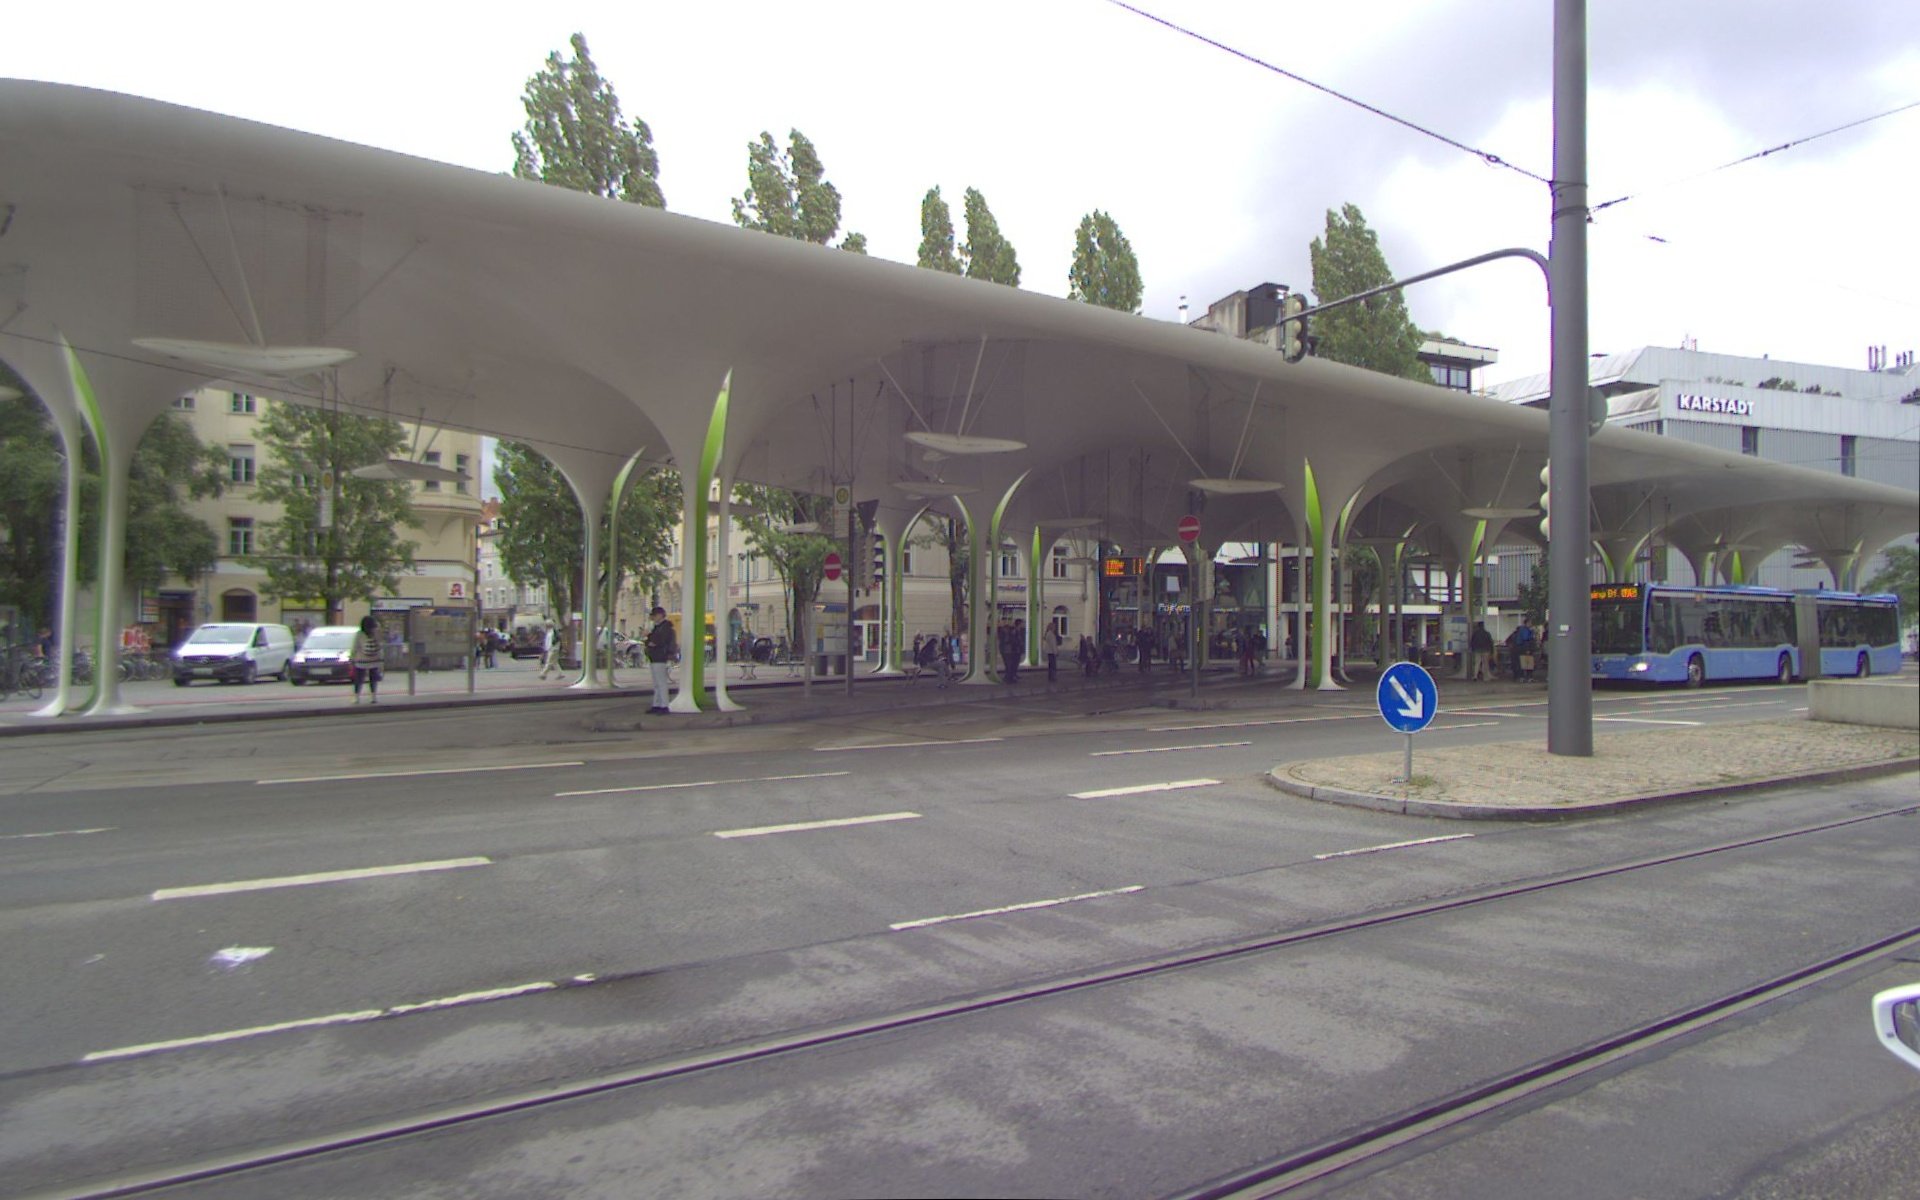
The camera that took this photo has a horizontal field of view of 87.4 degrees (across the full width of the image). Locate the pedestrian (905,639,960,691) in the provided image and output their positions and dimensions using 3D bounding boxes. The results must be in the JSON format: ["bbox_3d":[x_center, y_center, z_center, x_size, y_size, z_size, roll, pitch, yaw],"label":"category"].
[{"bbox_3d":[-0.703,1.605,25.067,1.248,1.246,0.811,1,-1,-11],"label":"pedestrian"}]

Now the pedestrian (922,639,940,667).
[{"bbox_3d":[-1.177,2.153,40.920,0.573,1.098,0.513,1,-2,-37],"label":"pedestrian"}]

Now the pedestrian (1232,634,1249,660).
[{"bbox_3d":[18.012,3.007,64.572,0.762,1.683,0.779,1,-1,-20],"label":"pedestrian"}]

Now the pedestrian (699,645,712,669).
[{"bbox_3d":[-12.527,2.795,49.397,0.606,1.097,1.835,1,-2,-15],"label":"pedestrian"}]

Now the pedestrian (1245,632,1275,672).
[{"bbox_3d":[13.165,2.268,44.085,0.883,1.753,0.868,1,-2,-25],"label":"pedestrian"}]

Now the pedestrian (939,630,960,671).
[{"bbox_3d":[-0.448,2.057,41.205,0.635,1.669,0.596,1,-2,-37],"label":"pedestrian"}]

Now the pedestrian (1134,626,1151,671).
[{"bbox_3d":[7.073,1.890,38.947,0.635,1.719,0.700,0,-1,11],"label":"pedestrian"}]

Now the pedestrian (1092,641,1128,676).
[{"bbox_3d":[5.274,2.049,35.309,0.867,1.170,0.908,1,1,-29],"label":"pedestrian"}]

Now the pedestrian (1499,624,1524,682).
[{"bbox_3d":[16.959,1.631,30.886,0.568,1.756,0.500,2,-2,-42],"label":"pedestrian"}]

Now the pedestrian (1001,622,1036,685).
[{"bbox_3d":[1.800,1.633,30.844,0.701,1.897,0.876,0,-1,34],"label":"pedestrian"}]

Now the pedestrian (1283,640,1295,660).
[{"bbox_3d":[21.728,3.294,66.286,0.567,1.351,0.512,1,-1,-11],"label":"pedestrian"}]

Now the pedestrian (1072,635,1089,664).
[{"bbox_3d":[7.163,2.915,59.695,0.742,1.699,0.790,1,-2,-20],"label":"pedestrian"}]

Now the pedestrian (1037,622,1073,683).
[{"bbox_3d":[2.753,1.511,29.056,0.799,1.750,0.668,-1,-2,44],"label":"pedestrian"}]

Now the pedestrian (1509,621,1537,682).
[{"bbox_3d":[16.705,1.513,29.810,0.558,1.766,0.752,-1,-2,43],"label":"pedestrian"}]

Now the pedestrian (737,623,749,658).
[{"bbox_3d":[-12.885,2.414,59.574,0.561,2.040,0.670,0,-1,0],"label":"pedestrian"}]

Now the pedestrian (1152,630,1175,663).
[{"bbox_3d":[11.191,2.539,55.363,0.981,1.796,0.931,1,-1,-10],"label":"pedestrian"}]

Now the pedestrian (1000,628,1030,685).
[{"bbox_3d":[1.555,1.581,28.252,0.586,1.565,0.634,-1,-2,43],"label":"pedestrian"}]

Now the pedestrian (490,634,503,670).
[{"bbox_3d":[-21.633,2.434,46.858,0.452,1.647,0.577,1,1,-32],"label":"pedestrian"}]

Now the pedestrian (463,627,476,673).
[{"bbox_3d":[-22.228,2.268,45.526,0.452,2.040,0.577,1,1,-32],"label":"pedestrian"}]

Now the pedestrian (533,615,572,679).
[{"bbox_3d":[-13.241,1.522,32.697,1.010,2.040,1.002,1,-1,-14],"label":"pedestrian"}]

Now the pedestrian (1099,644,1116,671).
[{"bbox_3d":[5.571,2.164,37.934,0.450,1.002,0.513,-1,-2,34],"label":"pedestrian"}]

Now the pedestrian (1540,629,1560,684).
[{"bbox_3d":[17.427,1.657,29.678,0.387,1.626,0.390,1,-1,-35],"label":"pedestrian"}]

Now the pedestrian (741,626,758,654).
[{"bbox_3d":[-13.301,2.518,63.426,0.791,1.807,0.951,1,-1,-31],"label":"pedestrian"}]

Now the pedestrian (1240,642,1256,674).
[{"bbox_3d":[11.849,2.380,41.277,0.563,1.282,0.520,0,-2,10],"label":"pedestrian"}]

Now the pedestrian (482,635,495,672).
[{"bbox_3d":[-21.558,2.440,45.967,0.452,1.647,0.577,1,1,-32],"label":"pedestrian"}]

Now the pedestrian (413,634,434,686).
[{"bbox_3d":[-21.338,2.382,39.951,0.685,2.040,0.693,1,-1,-32],"label":"pedestrian"}]

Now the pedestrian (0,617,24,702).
[{"bbox_3d":[-20.848,1.263,21.518,0.947,1.785,1.023,1,-2,-33],"label":"pedestrian"}]

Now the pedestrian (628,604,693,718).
[{"bbox_3d":[-5.045,1.005,16.924,0.654,1.863,0.809,0,-1,31],"label":"pedestrian"}]

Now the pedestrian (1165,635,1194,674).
[{"bbox_3d":[8.739,2.158,40.022,0.888,1.528,0.738,1,-2,-37],"label":"pedestrian"}]

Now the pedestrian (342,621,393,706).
[{"bbox_3d":[-11.727,1.244,19.874,0.830,1.631,0.741,1,-1,-33],"label":"pedestrian"}]

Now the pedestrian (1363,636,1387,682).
[{"bbox_3d":[19.031,2.698,46.058,0.888,2.040,0.673,0,-1,8],"label":"pedestrian"}]

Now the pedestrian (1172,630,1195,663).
[{"bbox_3d":[12.375,2.569,55.585,0.981,1.796,0.931,1,-1,-10],"label":"pedestrian"}]

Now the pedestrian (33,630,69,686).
[{"bbox_3d":[-26.827,1.699,29.645,0.629,1.603,0.631,1,-1,-30],"label":"pedestrian"}]

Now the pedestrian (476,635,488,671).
[{"bbox_3d":[-22.190,2.463,46.611,0.453,1.612,0.519,1,1,-32],"label":"pedestrian"}]

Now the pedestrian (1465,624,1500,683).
[{"bbox_3d":[15.903,1.617,30.571,0.875,1.744,0.706,2,-2,-44],"label":"pedestrian"}]
